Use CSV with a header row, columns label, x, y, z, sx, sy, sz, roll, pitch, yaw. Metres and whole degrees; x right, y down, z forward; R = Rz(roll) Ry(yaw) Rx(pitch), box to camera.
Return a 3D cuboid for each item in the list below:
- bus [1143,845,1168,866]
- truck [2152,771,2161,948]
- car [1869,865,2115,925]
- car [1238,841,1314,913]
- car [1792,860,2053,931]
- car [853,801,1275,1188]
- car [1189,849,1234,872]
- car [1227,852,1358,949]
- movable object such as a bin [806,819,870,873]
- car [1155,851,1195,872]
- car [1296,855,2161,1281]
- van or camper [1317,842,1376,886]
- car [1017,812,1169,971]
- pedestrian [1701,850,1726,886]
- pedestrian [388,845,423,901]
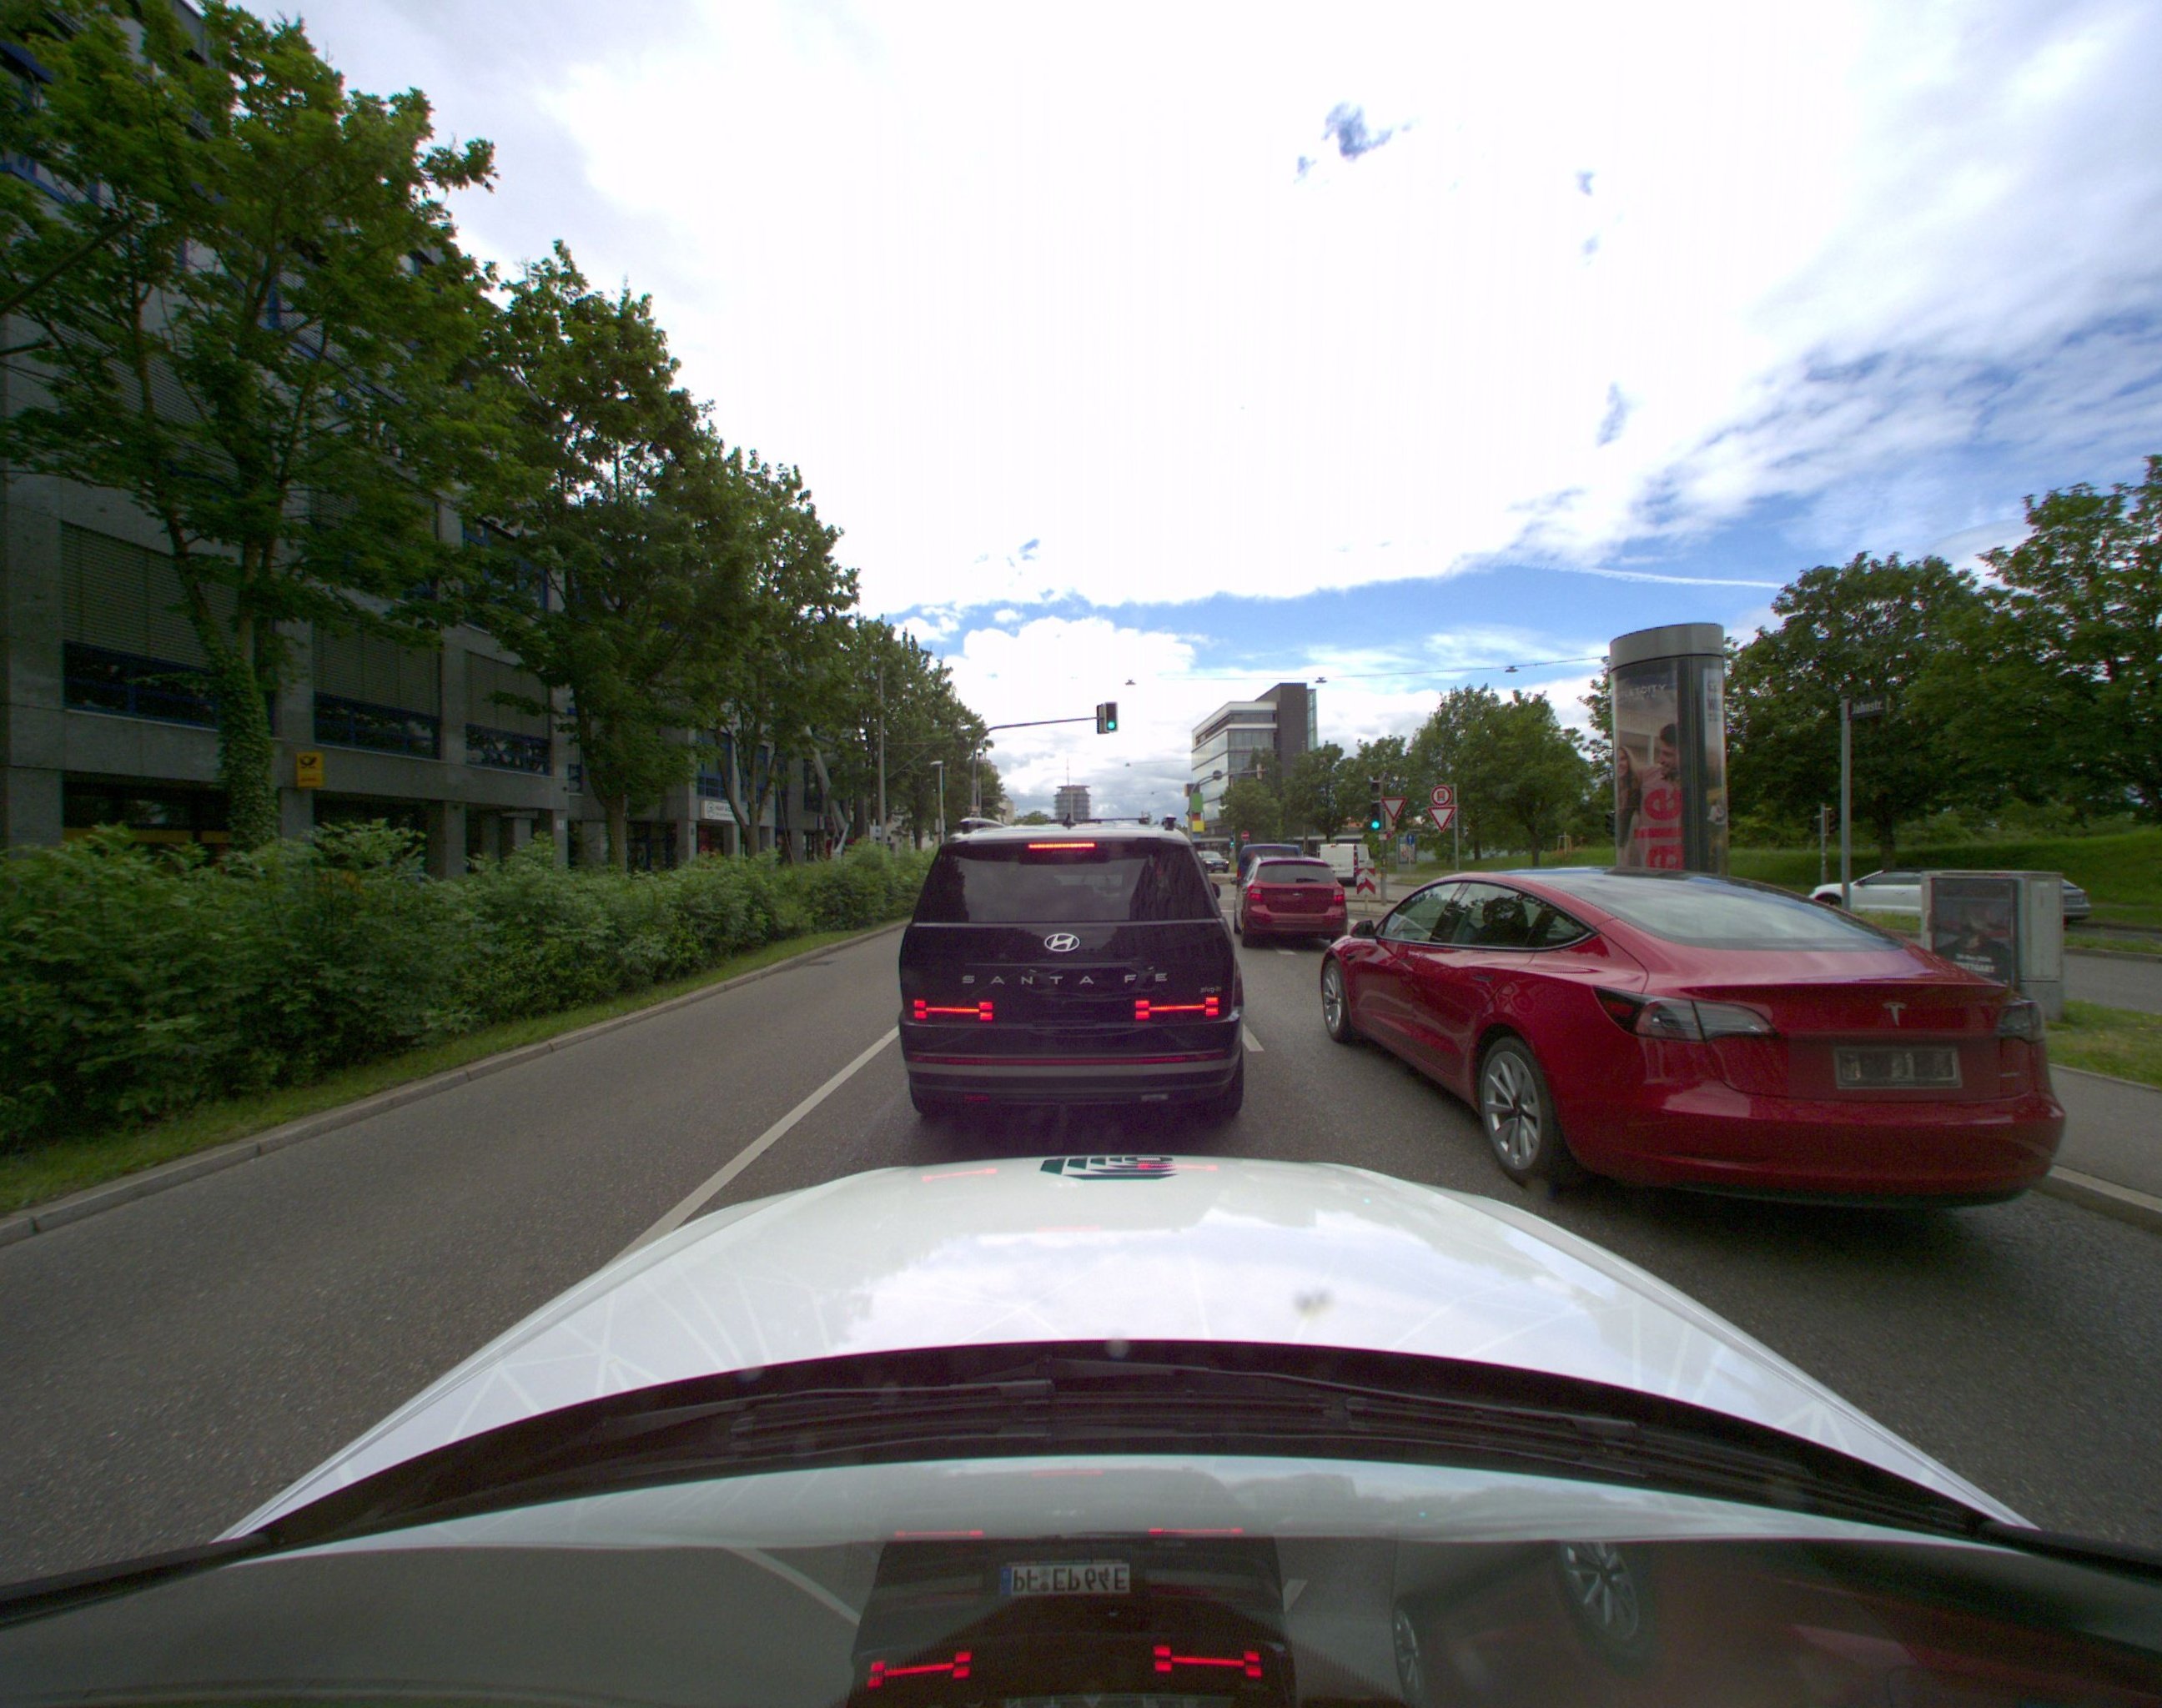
label,x,y,z,sx,sy,sz,roll,pitch,yaw
bus,12.130,0.324,133.157,2.958,3.116,9.238,-2,-1,-1
truck,26.224,0.155,13.868,2.821,3.925,9.420,0,0,-12
car,24.998,1.056,22.587,1.984,1.442,4.144,0,0,-11
car,5.750,0.584,23.597,1.887,1.859,4.729,0,0,16
car,21.603,0.978,21.219,1.850,1.529,4.472,0,1,-11
car,-0.006,0.625,5.900,1.895,1.731,4.448,0,0,2
car,9.537,0.465,59.908,1.889,1.564,4.380,0,1,-11
car,3.575,0.712,14.367,1.736,1.481,3.725,0,0,6
movable object such as a bin,-12.189,-0.390,41.153,1.898,2.531,4.128,1,0,1
car,6.726,0.530,58.675,1.782,1.425,4.382,0,1,-9
car,2.821,0.731,4.981,1.867,1.418,4.442,0,0,0
van or camper,12.645,0.406,38.648,1.975,1.917,4.435,0,1,27
car,0.394,0.455,12.522,1.892,1.969,4.644,0,0,6
pedestrian,28.864,0.632,37.175,0.539,1.604,0.703,-5,1,3
pedestrian,-16.288,0.446,19.646,0.364,1.334,0.558,2,0,-3
